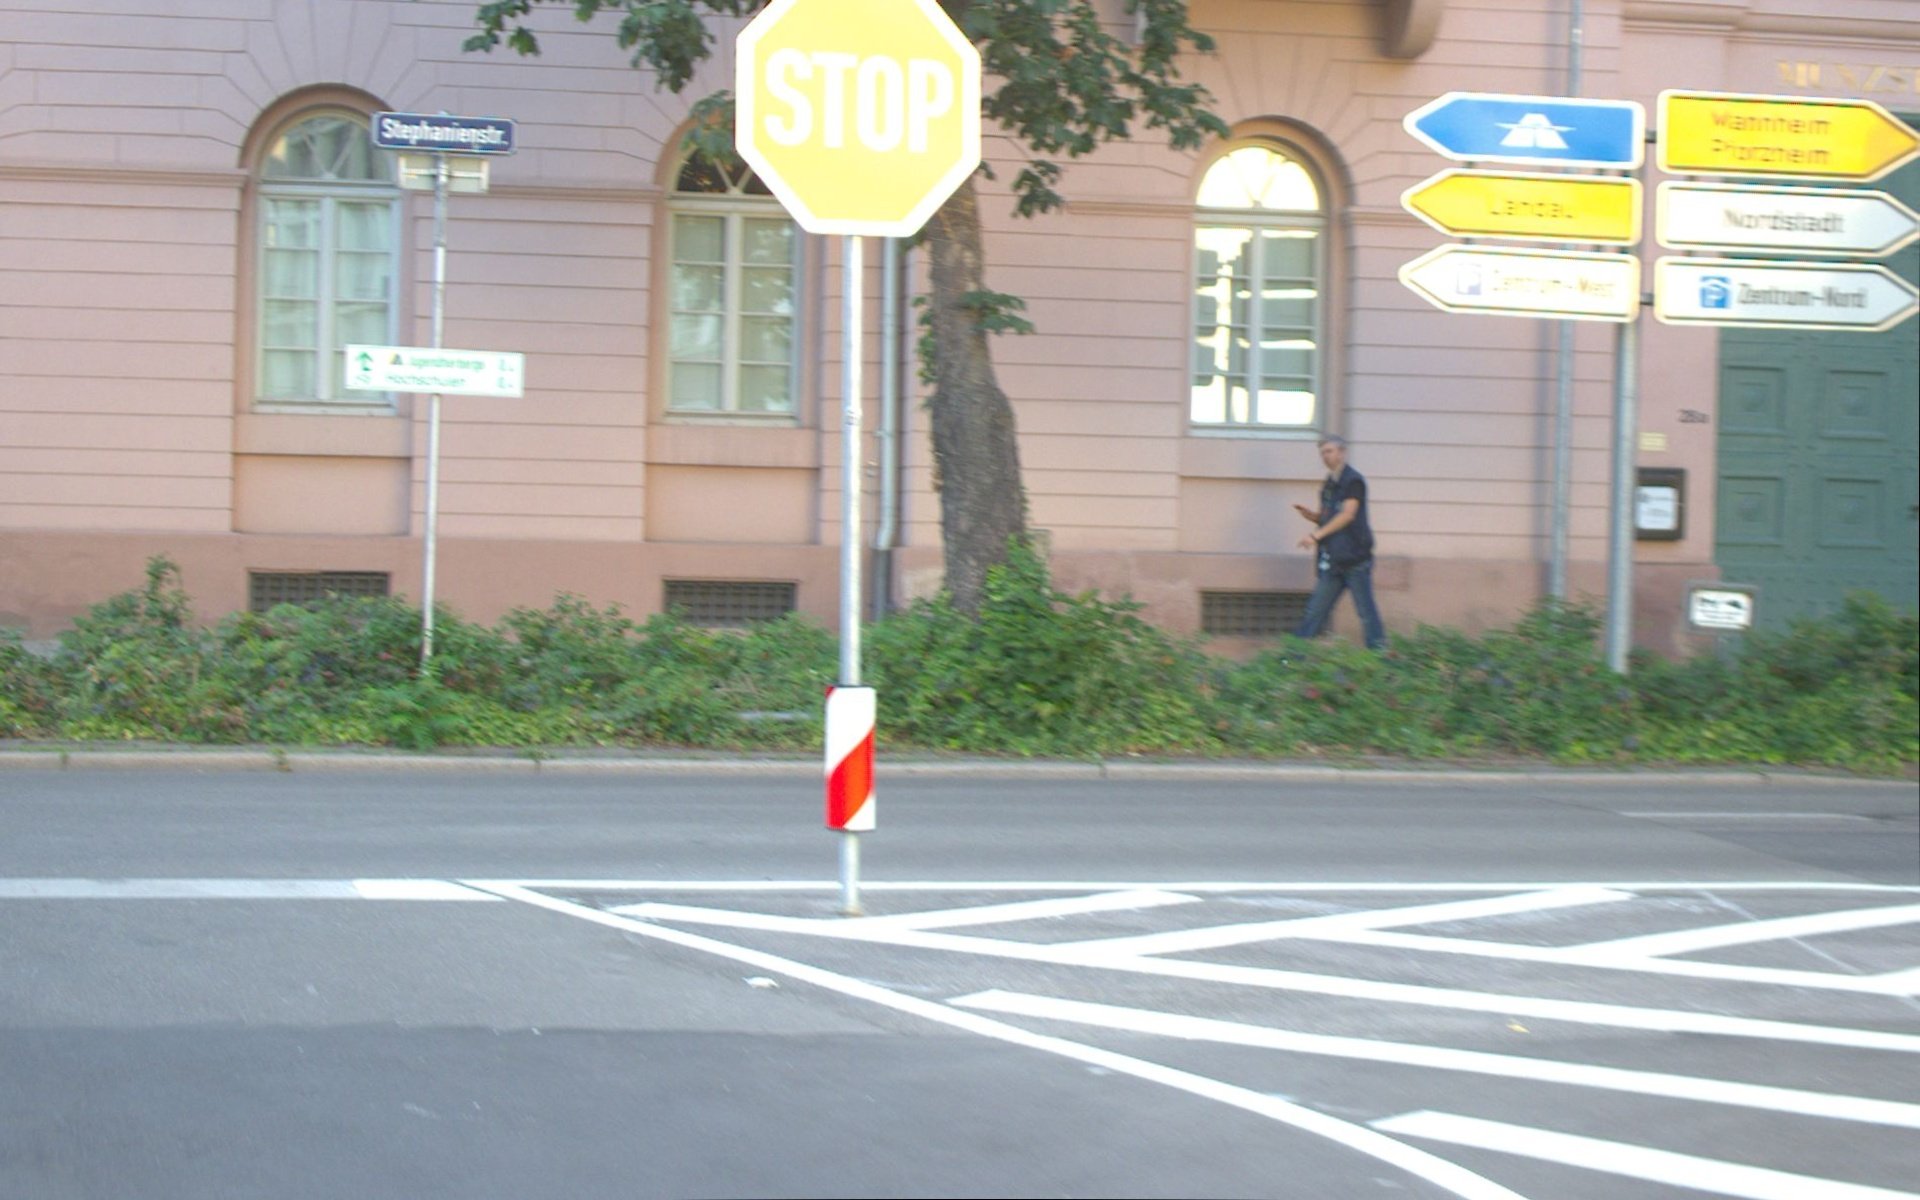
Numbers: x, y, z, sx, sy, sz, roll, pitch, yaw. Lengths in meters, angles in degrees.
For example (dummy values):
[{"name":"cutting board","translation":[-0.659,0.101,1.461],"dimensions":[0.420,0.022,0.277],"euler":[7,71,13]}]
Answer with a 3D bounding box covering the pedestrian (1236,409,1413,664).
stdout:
[{"name":"pedestrian","translation":[2.683,-0.473,25.362],"dimensions":[1.079,1.832,0.801],"euler":[1,2,-9]}]
